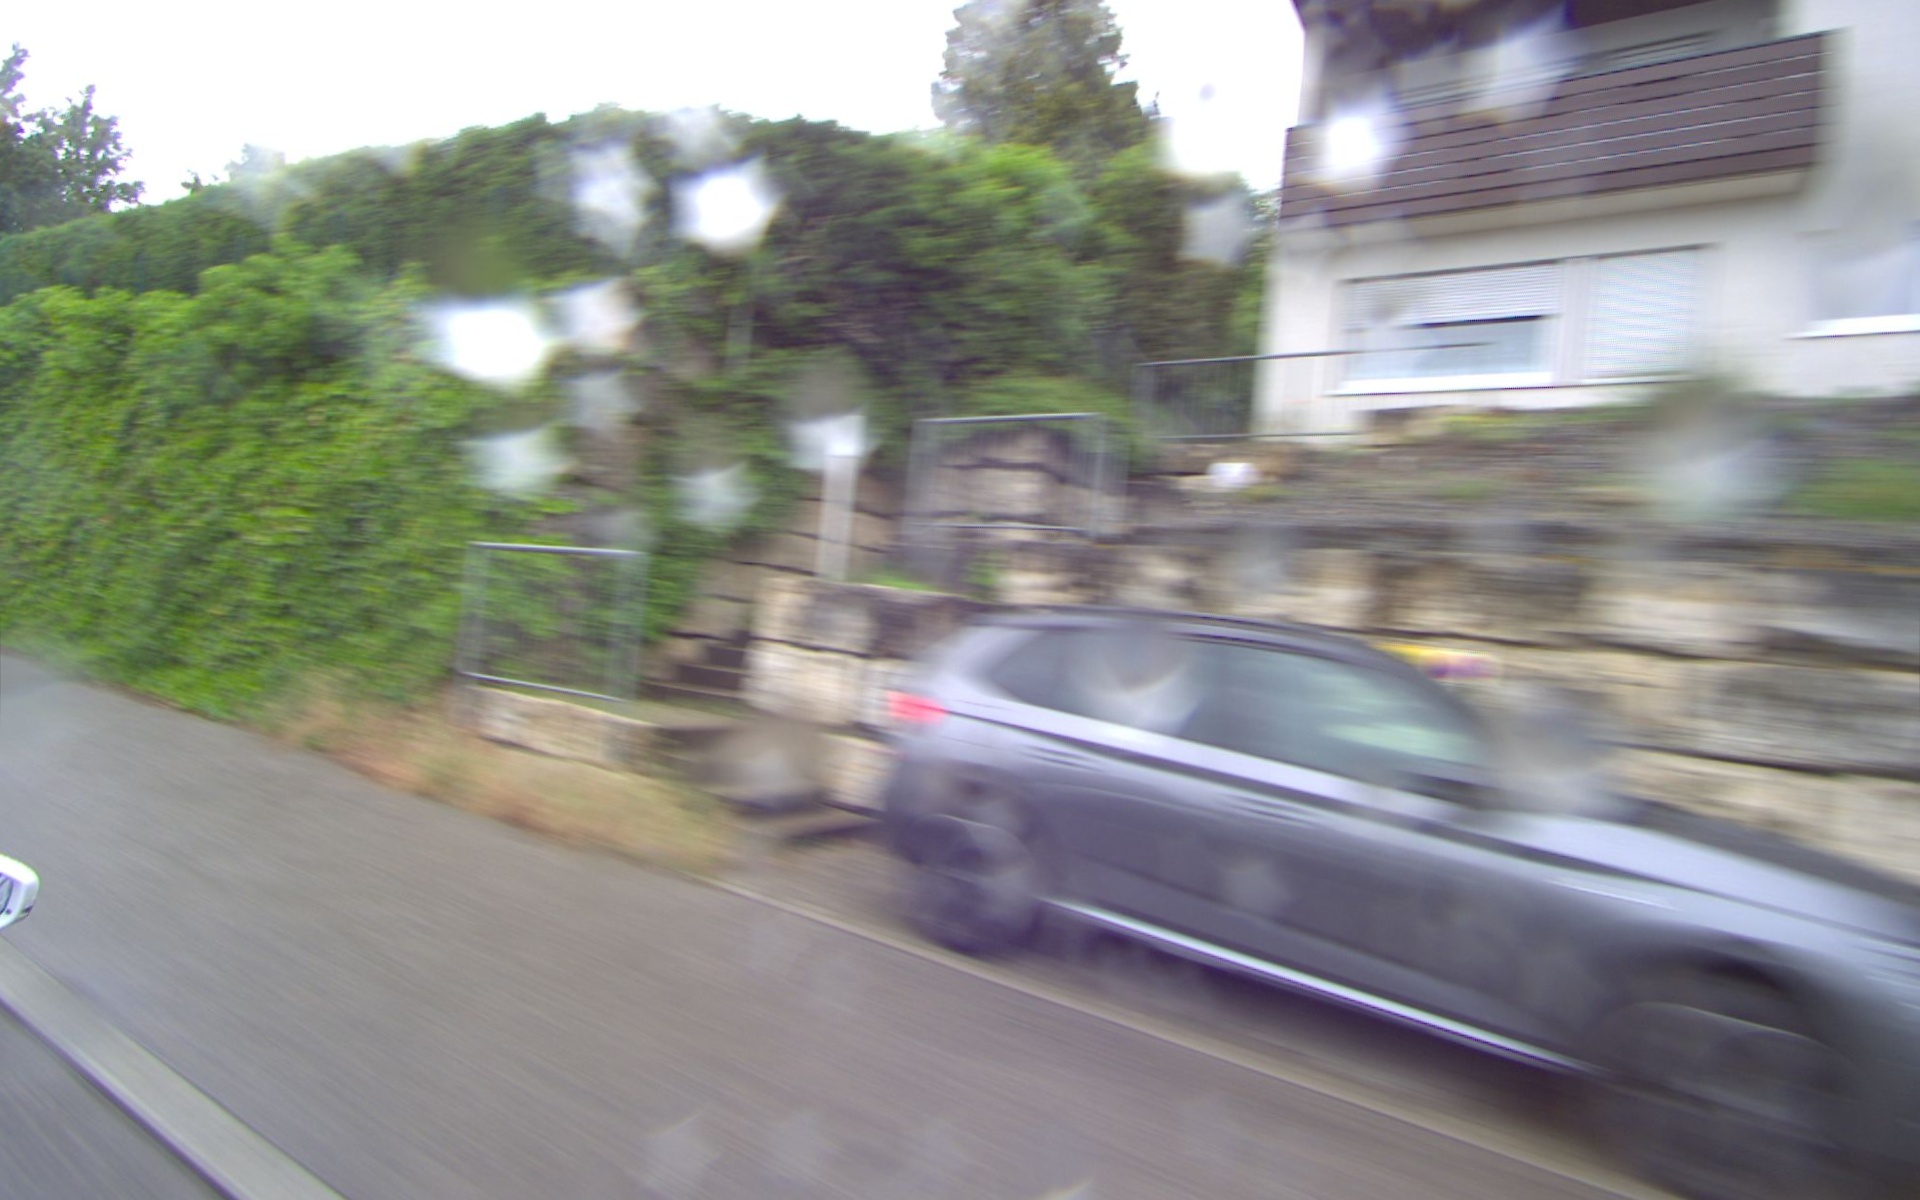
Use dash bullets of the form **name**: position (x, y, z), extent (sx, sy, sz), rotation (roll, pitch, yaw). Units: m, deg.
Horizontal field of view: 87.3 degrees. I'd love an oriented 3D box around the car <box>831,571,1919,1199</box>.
- **car**: position (1.617, 0.895, 4.313), extent (3.944, 1.583, 1.811), rotation (6, 1, 32)
